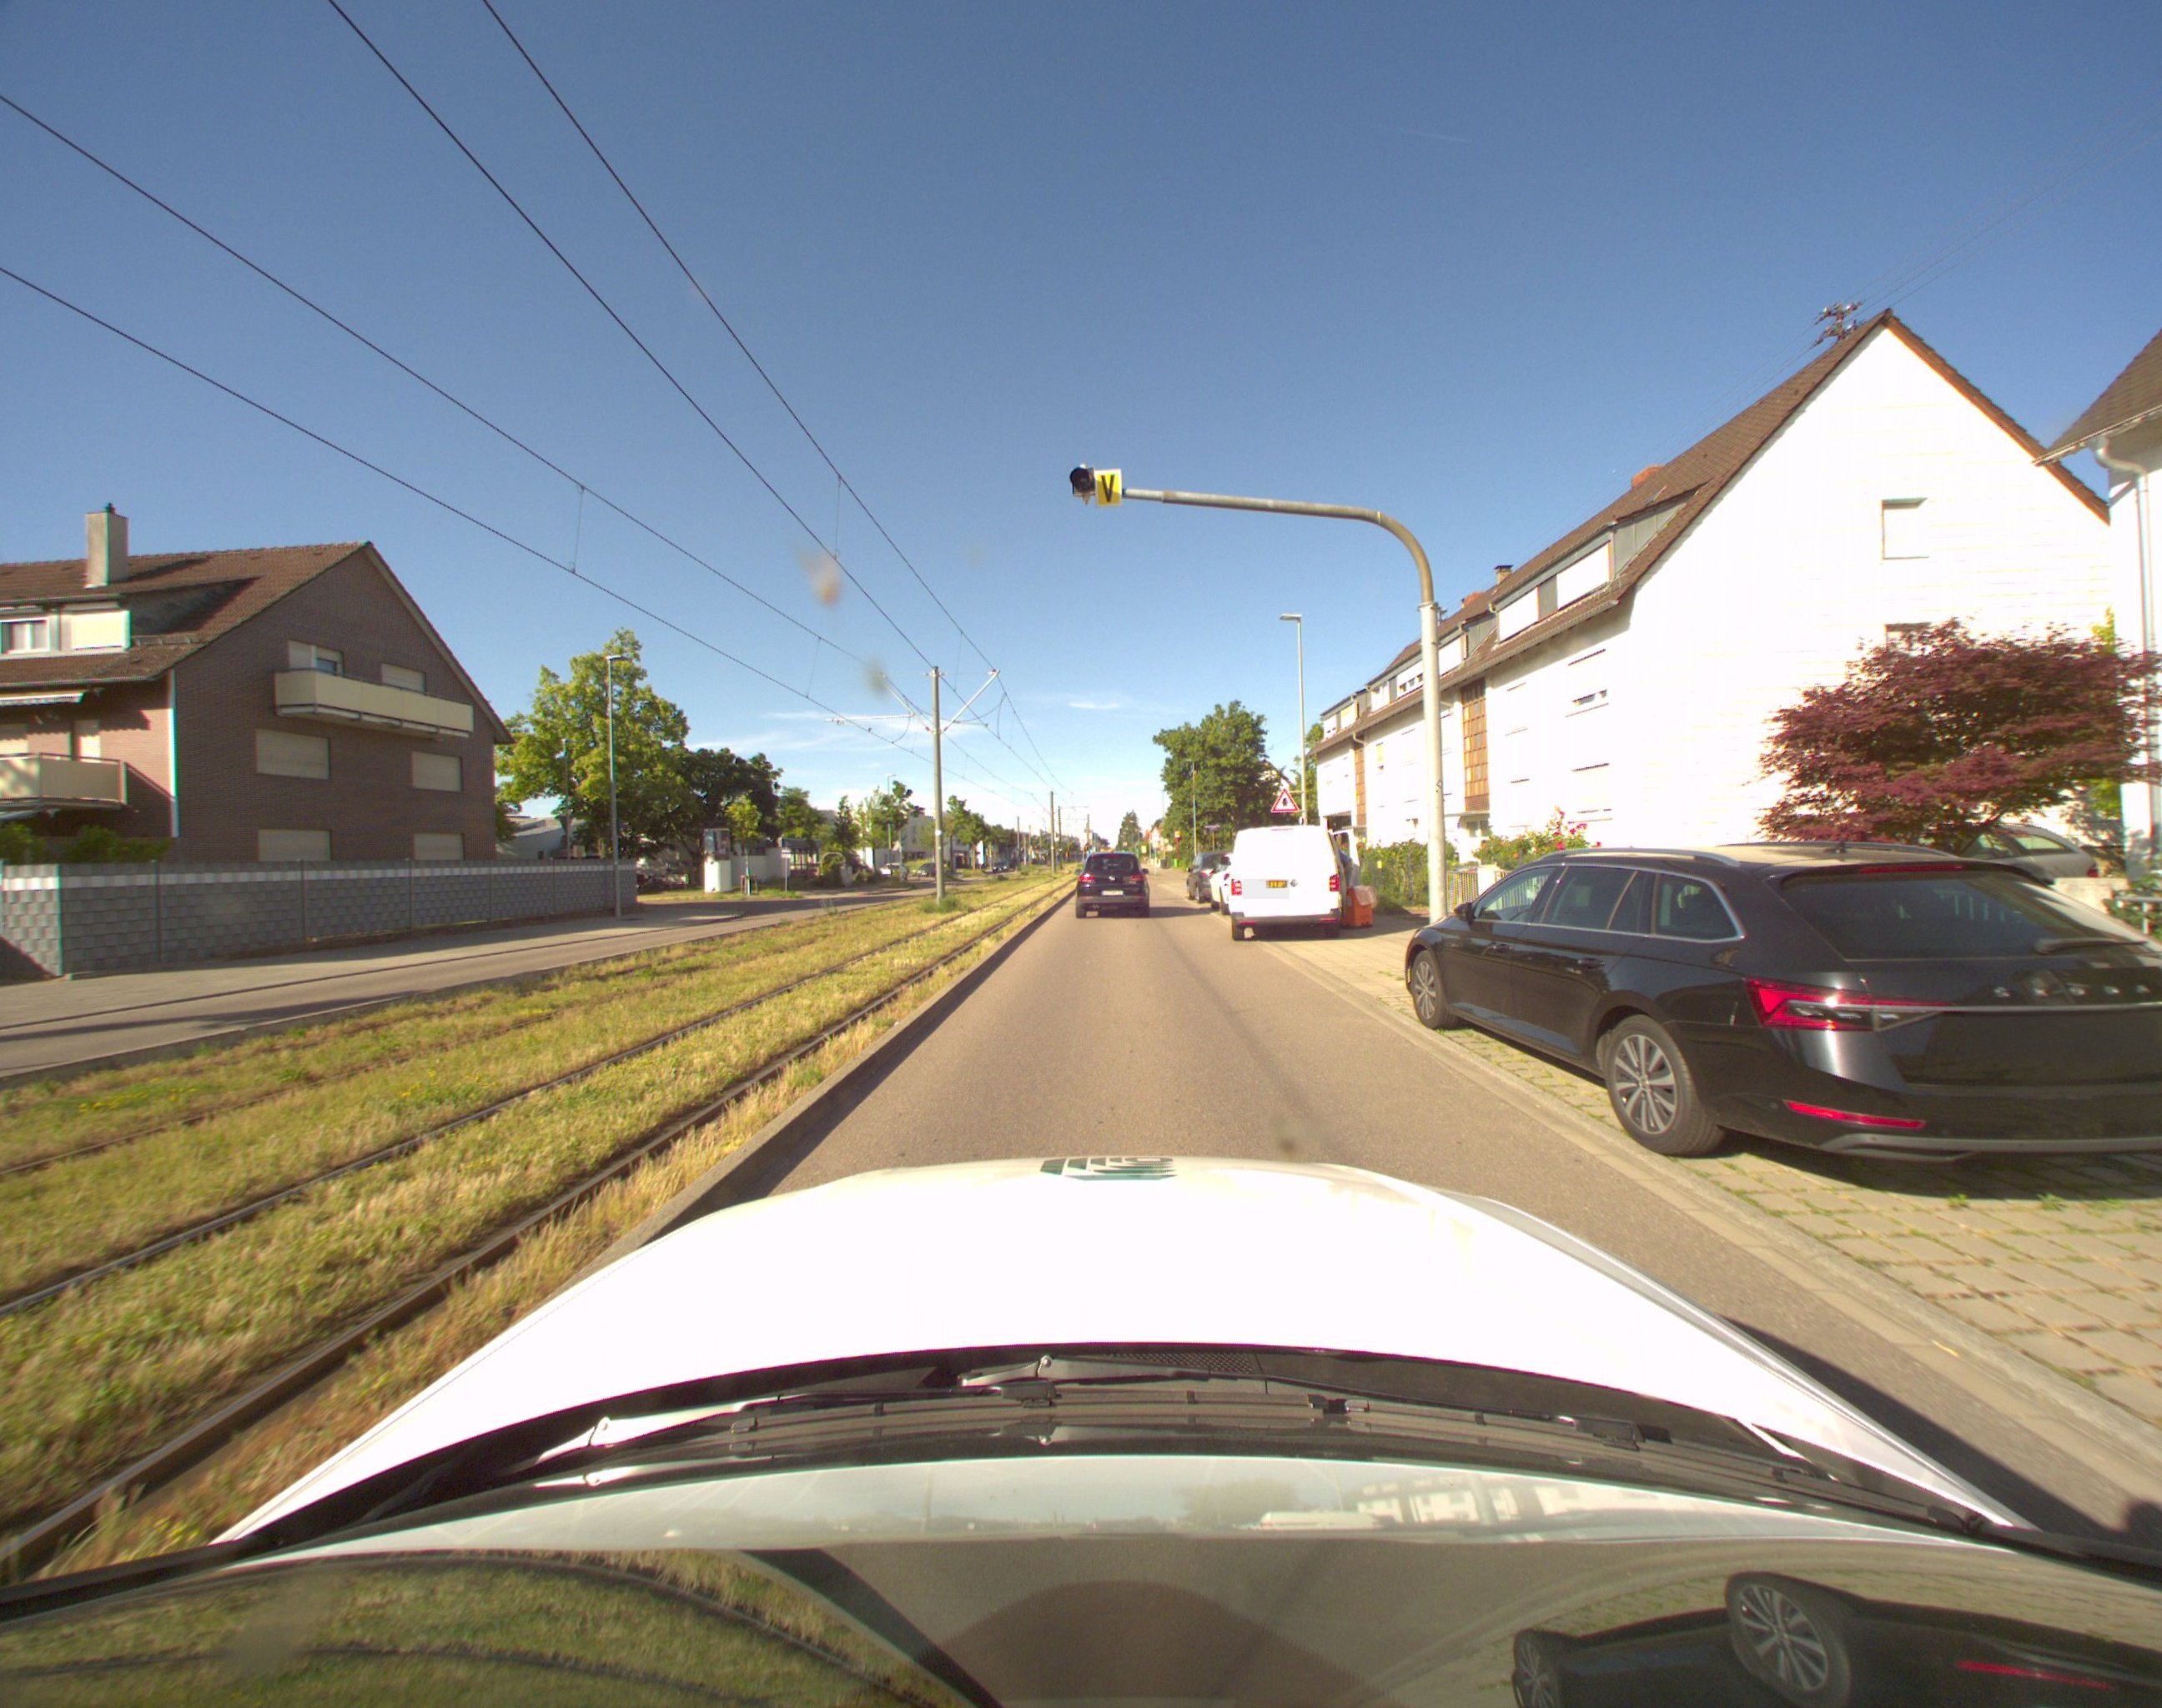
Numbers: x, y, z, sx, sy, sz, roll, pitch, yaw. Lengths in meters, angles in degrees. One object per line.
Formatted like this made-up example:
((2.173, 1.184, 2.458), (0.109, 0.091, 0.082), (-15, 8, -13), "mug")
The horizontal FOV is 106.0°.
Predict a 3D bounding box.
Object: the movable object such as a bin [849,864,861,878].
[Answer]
((-22.700, 1.730, 81.873), (0.660, 1.383, 1.425), (0, -1, 10), "movable object such as a bin")

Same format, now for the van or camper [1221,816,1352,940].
((3.798, 0.387, 15.881), (2.015, 1.956, 5.310), (-2, 0, 10), "van or camper")

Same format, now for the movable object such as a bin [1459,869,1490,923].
((6.856, 0.722, 14.202), (0.286, 0.909, 0.597), (0, -1, 5), "movable object such as a bin")

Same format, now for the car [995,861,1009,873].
((-10.190, 1.678, 105.444), (1.685, 1.389, 4.380), (-3, -1, -5), "car")

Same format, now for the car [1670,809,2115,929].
((11.801, 0.220, 12.110), (4.696, 1.477, 1.907), (-2, -1, 0), "car")

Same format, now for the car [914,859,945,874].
((-15.145, 1.274, 81.587), (1.801, 1.461, 4.325), (0, -1, 6), "car")

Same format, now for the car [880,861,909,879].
((-15.581, 1.335, 68.209), (1.539, 1.491, 3.775), (0, -1, 1), "car")

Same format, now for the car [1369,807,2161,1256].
((3.637, 0.622, 5.390), (1.742, 1.494, 5.158), (-3, -1, 2), "car")

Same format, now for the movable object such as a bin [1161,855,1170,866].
((8.737, 0.711, 84.174), (0.971, 1.111, 1.172), (-2, 0, 5), "movable object such as a bin")

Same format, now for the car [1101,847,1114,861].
((5.095, -0.053, 157.825), (2.385, 2.564, 5.533), (-2, -1, 3), "car")

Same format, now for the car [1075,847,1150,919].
((0.754, 0.703, 21.315), (1.770, 1.670, 3.999), (-1, -1, 0), "car")

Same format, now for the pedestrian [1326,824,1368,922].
((5.317, 0.377, 16.287), (0.694, 1.912, 0.761), (0, -1, 10), "pedestrian")

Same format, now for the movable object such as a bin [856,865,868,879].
((-22.446, 1.799, 83.461), (0.660, 1.433, 1.258), (0, -1, 10), "movable object such as a bin")

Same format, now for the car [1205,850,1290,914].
((4.325, 0.688, 21.686), (1.649, 1.492, 4.164), (-2, -1, 4), "car")

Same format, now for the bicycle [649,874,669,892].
((-26.773, 1.849, 51.695), (1.038, 1.059, 0.303), (-2, 0, -16), "bicycle")

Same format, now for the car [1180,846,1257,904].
((4.490, 0.644, 27.282), (1.785, 1.628, 4.862), (-4, 0, 1), "car")

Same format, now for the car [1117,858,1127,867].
((8.044, 1.611, 158.777), (1.770, 1.670, 3.999), (-2, -1, 0), "car")

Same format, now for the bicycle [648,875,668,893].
((-26.679, 1.875, 51.354), (1.055, 1.083, 0.303), (-2, 0, -16), "bicycle")
